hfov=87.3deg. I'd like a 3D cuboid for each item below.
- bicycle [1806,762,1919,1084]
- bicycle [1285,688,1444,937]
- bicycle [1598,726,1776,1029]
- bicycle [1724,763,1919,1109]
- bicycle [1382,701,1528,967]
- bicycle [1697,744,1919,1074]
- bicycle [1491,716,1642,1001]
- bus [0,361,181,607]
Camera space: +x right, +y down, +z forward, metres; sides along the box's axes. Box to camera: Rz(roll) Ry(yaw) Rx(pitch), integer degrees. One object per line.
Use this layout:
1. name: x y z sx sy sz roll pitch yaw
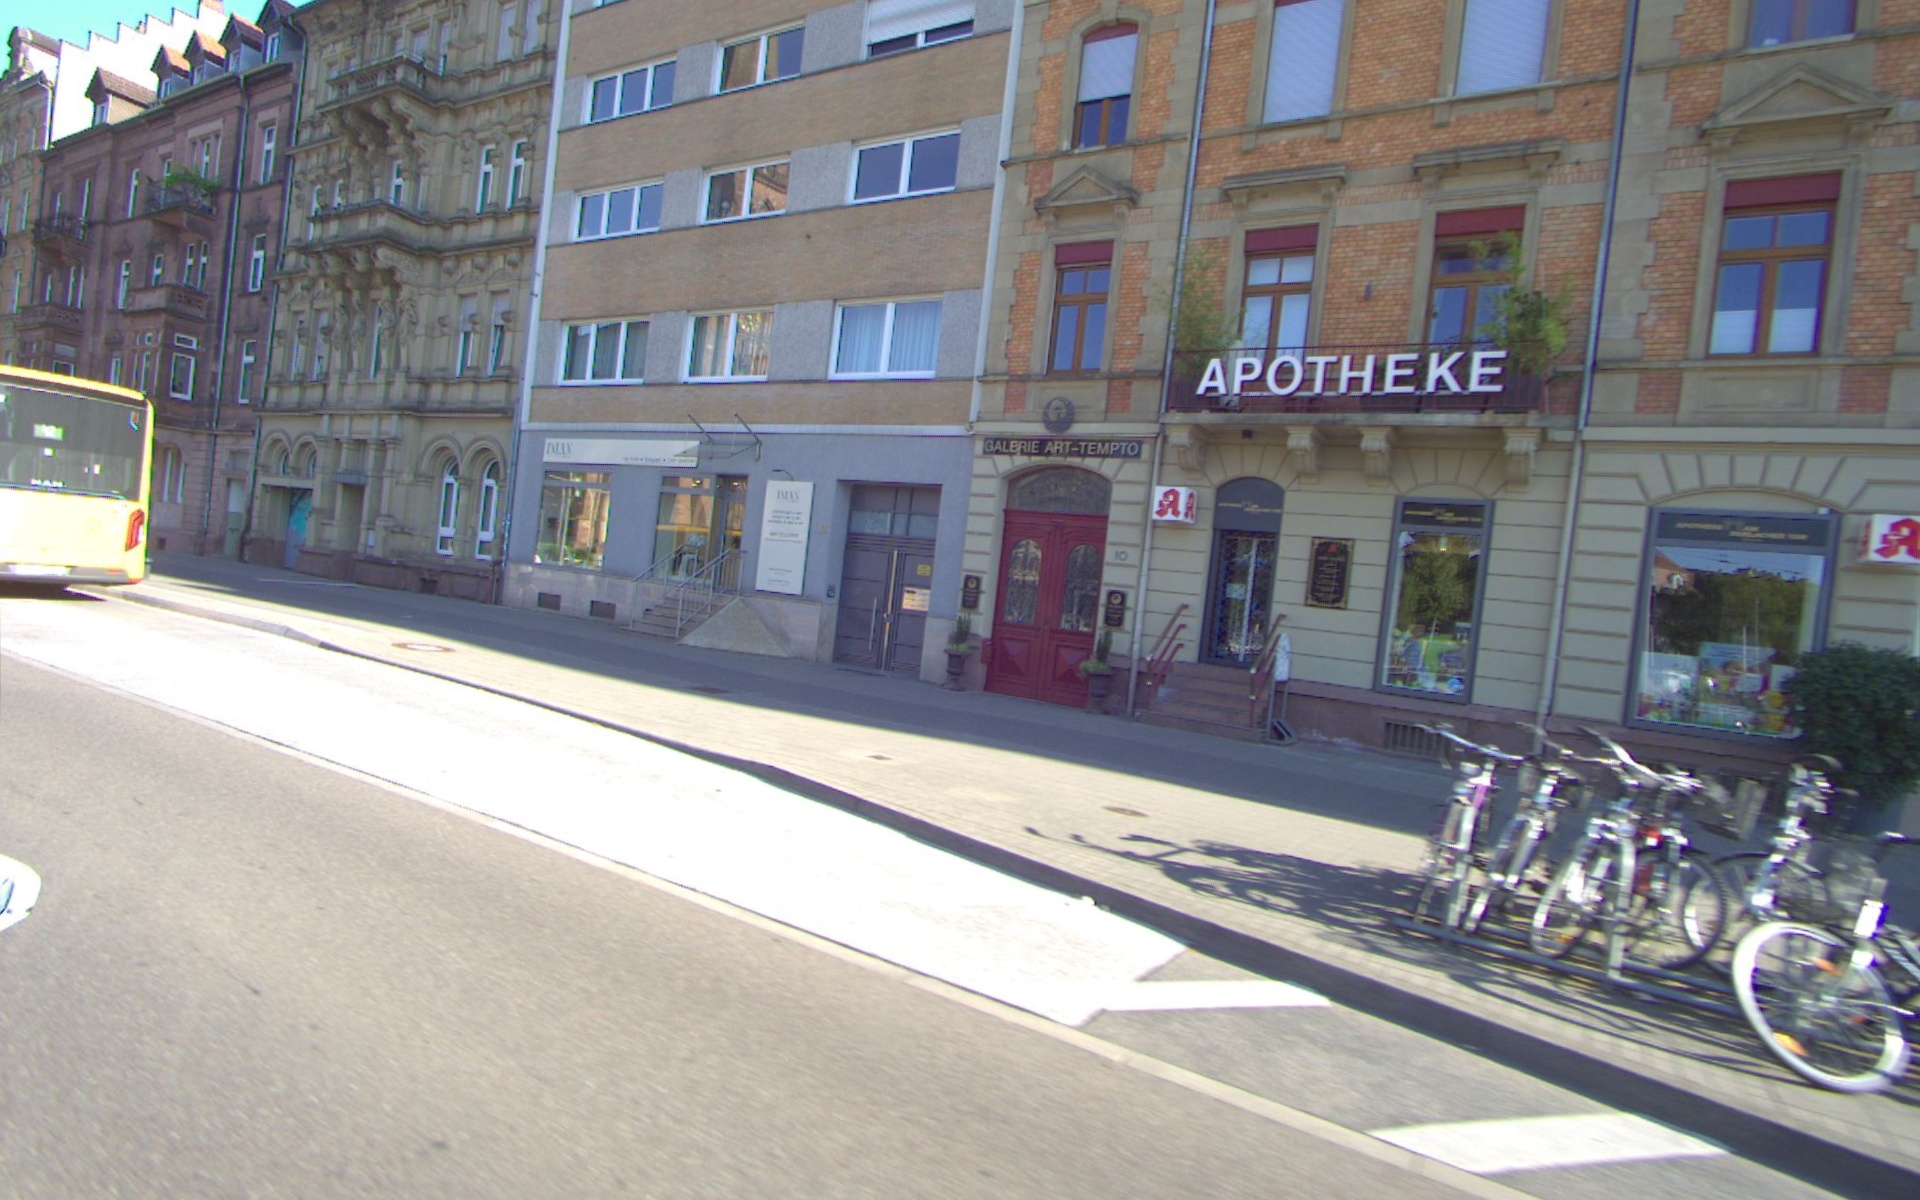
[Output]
1. bicycle: 4.548 1.450 4.731 0.462 1.202 1.767 8 0 31
2. bicycle: 2.452 1.163 5.979 0.462 1.202 1.767 8 0 31
3. bicycle: 3.707 1.314 5.240 0.462 1.202 1.767 8 0 31
4. bicycle: 4.030 1.366 3.732 1.741 1.161 0.469 8 1 32
5. bicycle: 2.854 1.214 5.708 0.462 1.202 1.767 8 0 31
6. bicycle: 4.132 1.390 4.992 0.462 1.202 1.767 8 0 31
7. bicycle: 3.287 1.285 5.479 0.462 1.202 1.794 8 0 31
8. bus: -17.903 -2.187 17.432 12.333 3.222 2.717 7 1 32
